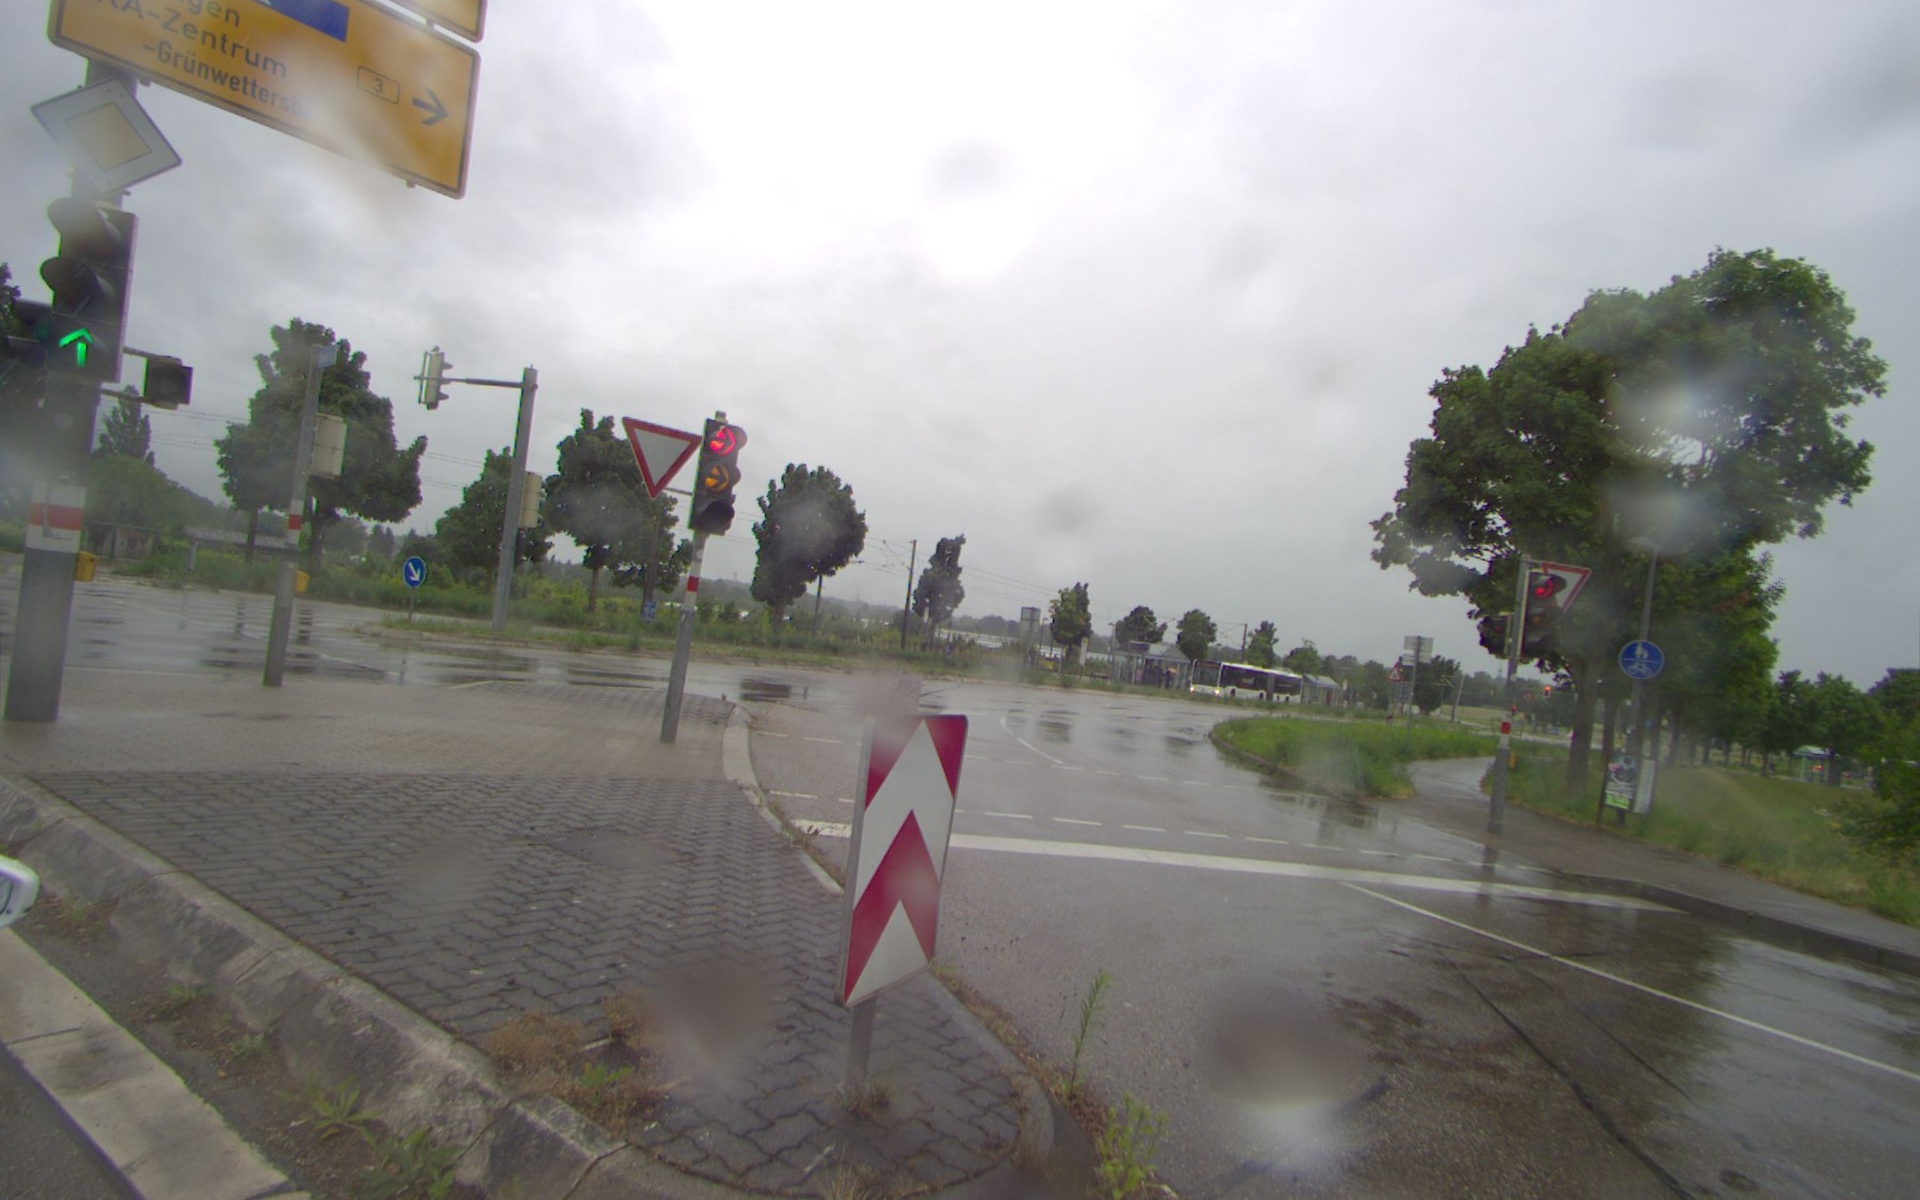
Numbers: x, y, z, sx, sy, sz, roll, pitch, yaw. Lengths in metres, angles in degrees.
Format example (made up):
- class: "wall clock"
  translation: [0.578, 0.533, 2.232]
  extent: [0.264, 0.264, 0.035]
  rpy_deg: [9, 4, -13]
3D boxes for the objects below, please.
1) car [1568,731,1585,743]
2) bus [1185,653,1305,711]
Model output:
- class: "car"
  translation: [92.321, 20.547, 150.599]
  extent: [1.850, 1.370, 4.042]
  rpy_deg: [7, -1, 34]
- class: "bus"
  translation: [24.303, 7.035, 84.293]
  extent: [2.715, 3.828, 18.381]
  rpy_deg: [7, -2, 38]
